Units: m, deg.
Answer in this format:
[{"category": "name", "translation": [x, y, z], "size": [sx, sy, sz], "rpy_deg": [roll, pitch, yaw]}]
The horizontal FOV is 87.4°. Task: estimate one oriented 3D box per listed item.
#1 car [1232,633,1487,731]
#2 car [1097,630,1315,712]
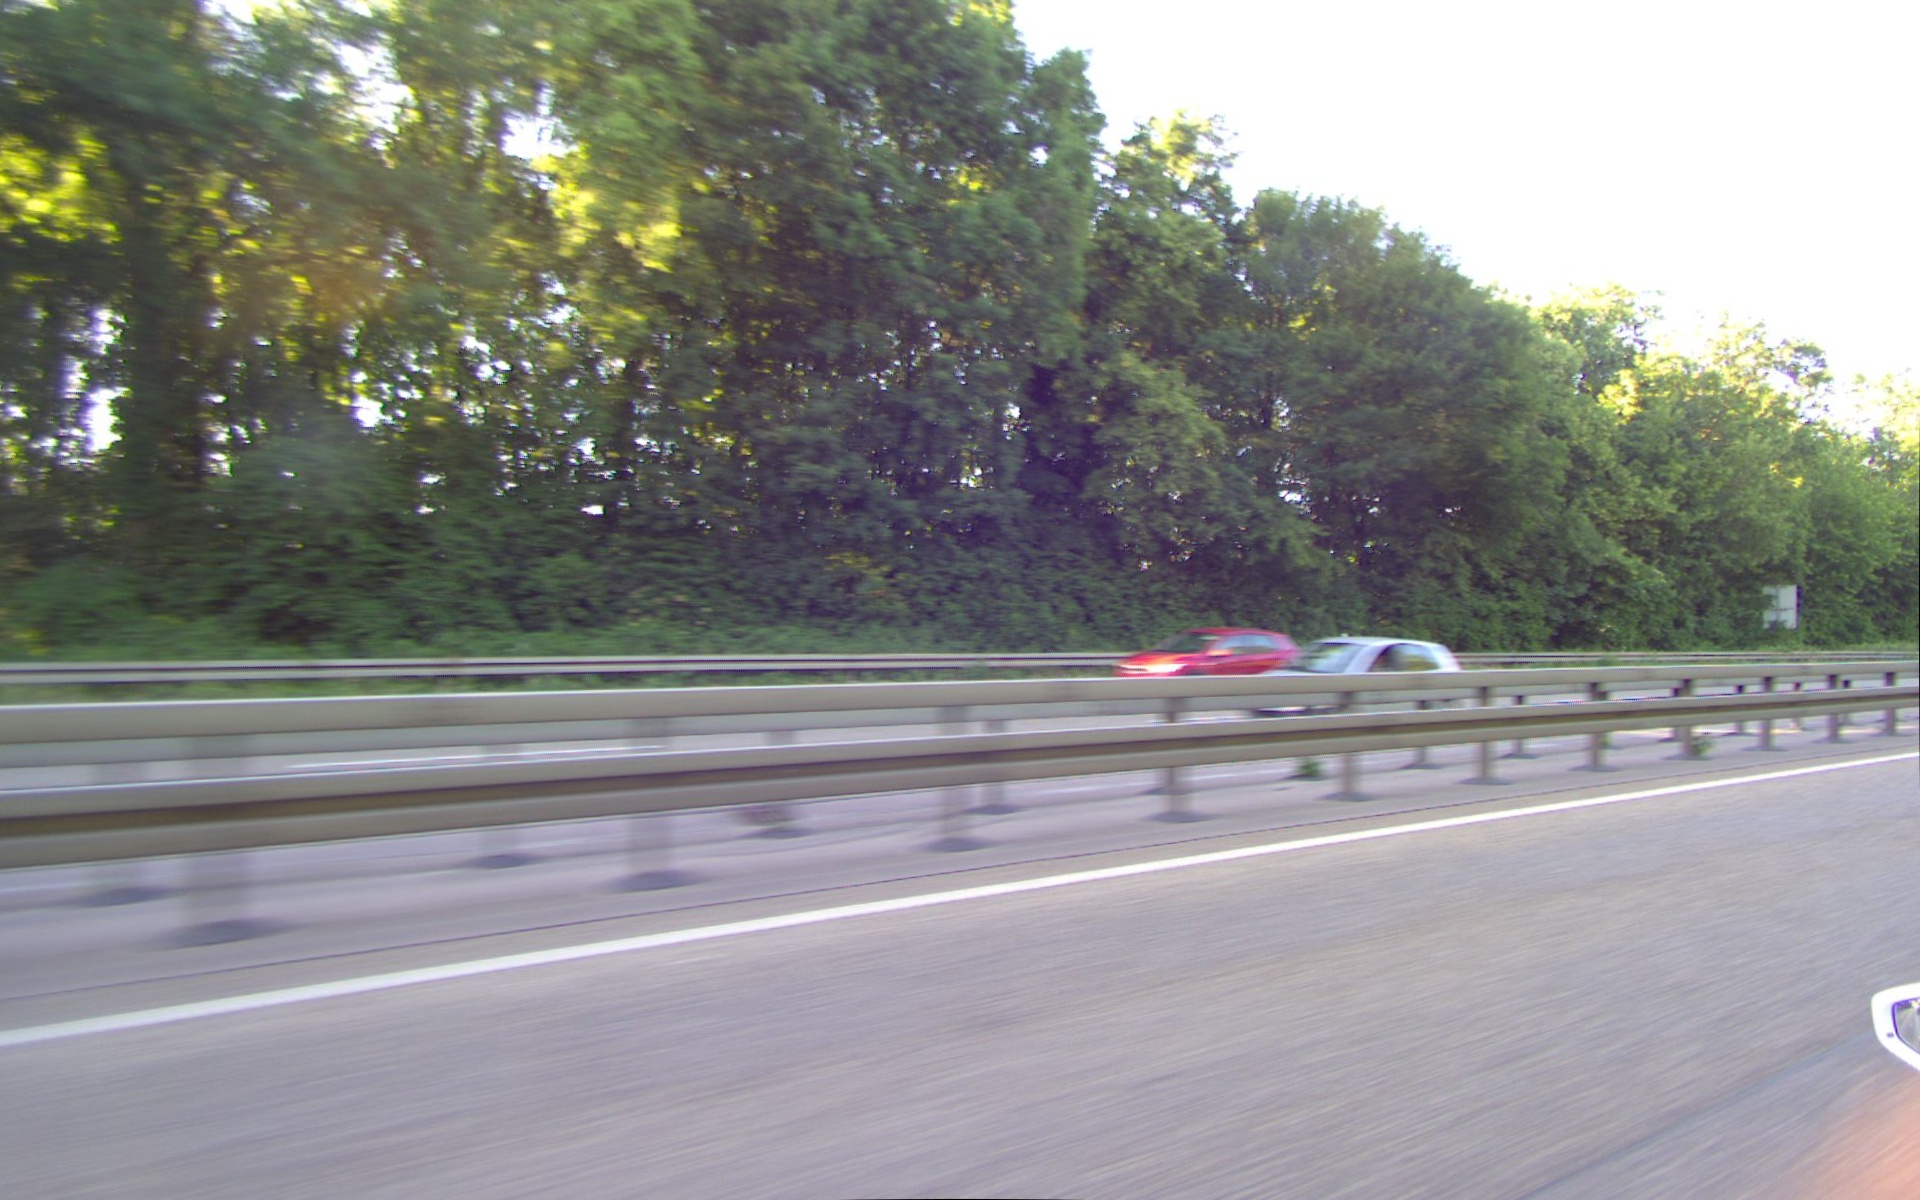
[{"category": "car", "translation": [6.451, 1.313, 16.125], "size": [4.049, 1.390, 1.716], "rpy_deg": [4, -4, -31]}, {"category": "car", "translation": [4.901, 1.378, 19.981], "size": [3.951, 1.483, 1.985], "rpy_deg": [2, -3, -29]}]
